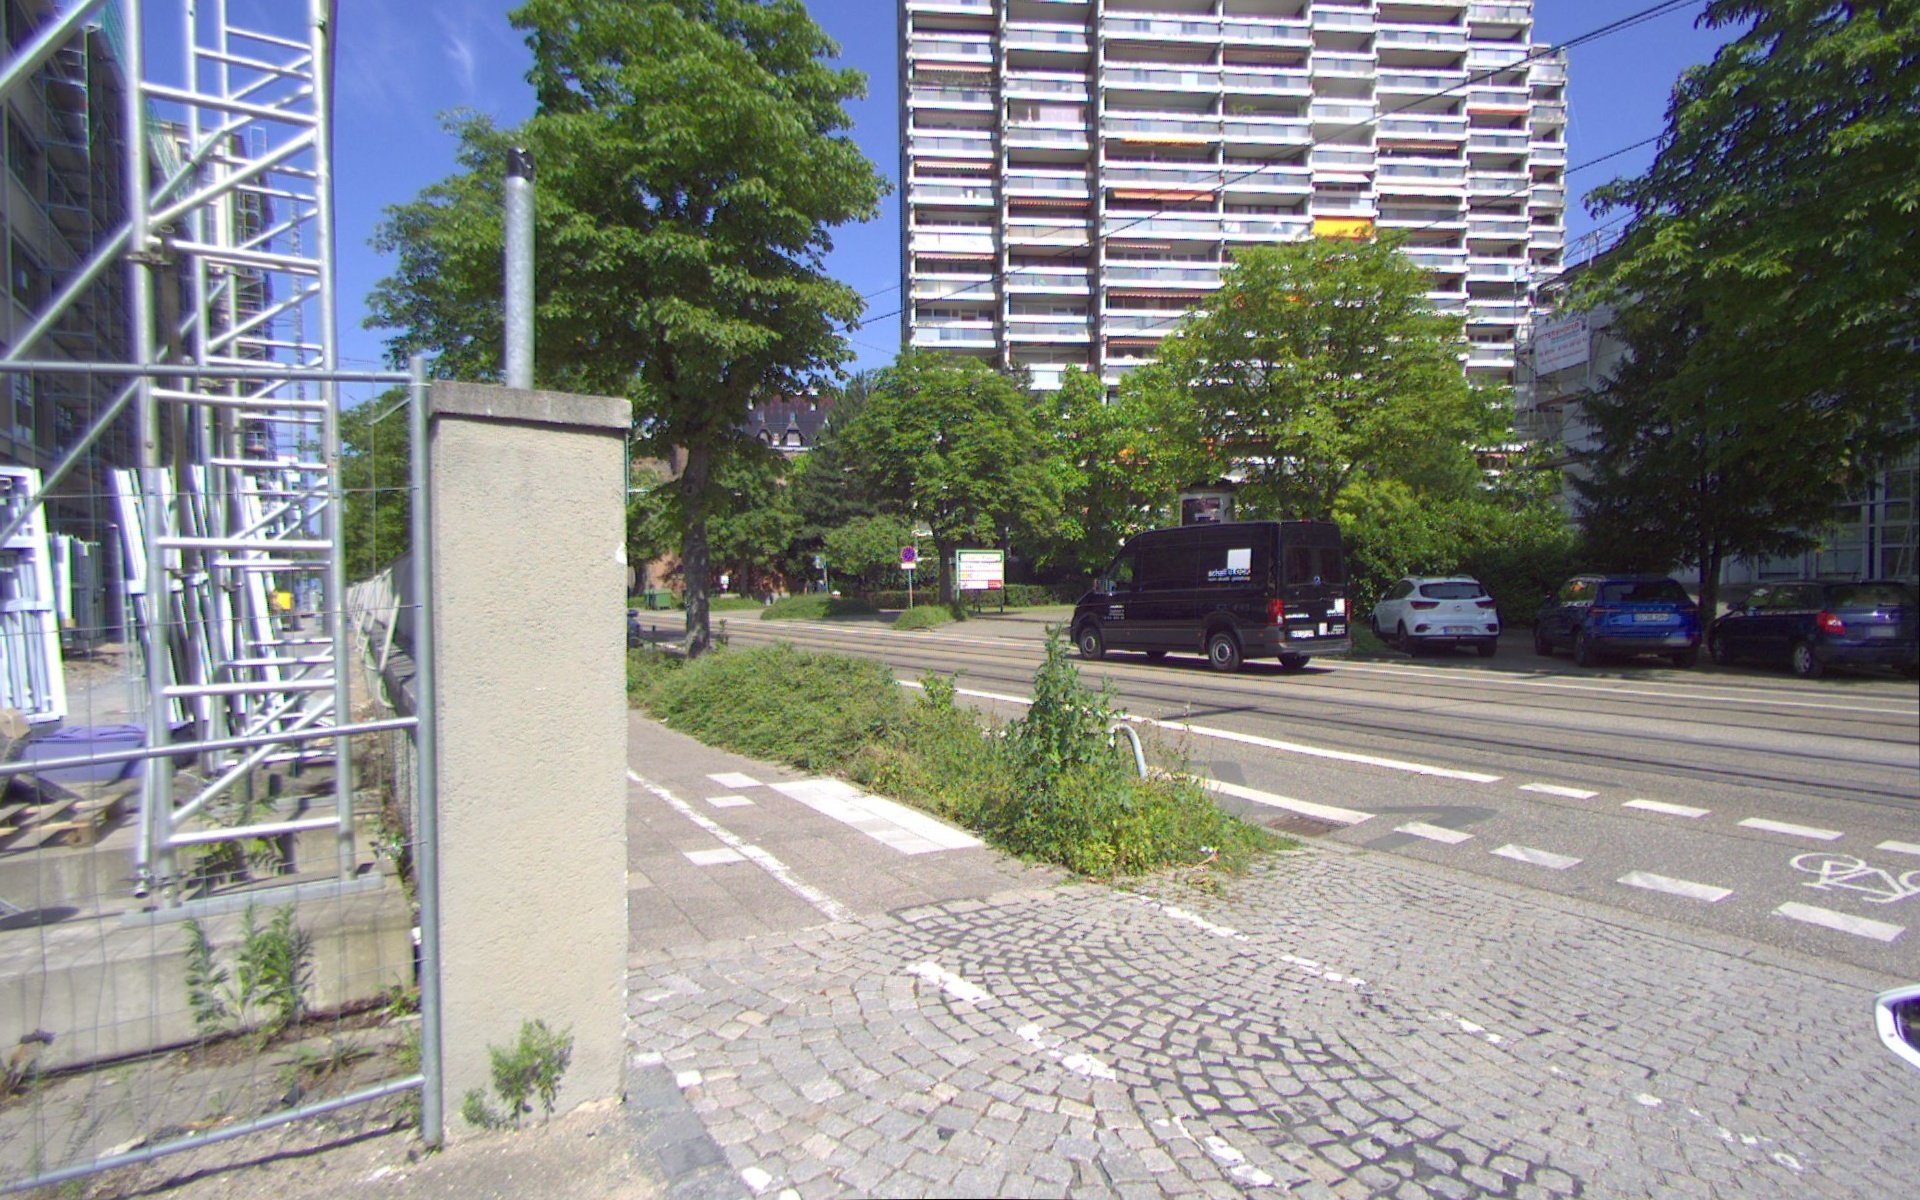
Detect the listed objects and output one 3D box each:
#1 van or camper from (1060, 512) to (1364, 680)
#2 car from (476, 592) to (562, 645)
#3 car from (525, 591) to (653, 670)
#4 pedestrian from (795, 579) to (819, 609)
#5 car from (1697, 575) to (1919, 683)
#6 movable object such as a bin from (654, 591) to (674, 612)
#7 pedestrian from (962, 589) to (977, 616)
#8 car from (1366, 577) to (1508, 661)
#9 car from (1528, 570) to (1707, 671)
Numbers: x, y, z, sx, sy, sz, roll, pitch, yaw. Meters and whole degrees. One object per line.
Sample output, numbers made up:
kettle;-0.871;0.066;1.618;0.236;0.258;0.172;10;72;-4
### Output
van or camper;4.453;-0.099;18.933;2.028;2.655;5.810;-1;1;-32
car;-13.235;0.504;30.044;1.801;1.473;3.965;-1;1;-32
car;-8.125;0.581;21.784;1.801;1.514;4.071;-1;1;-32
pedestrian;-9.448;-0.352;61.972;1.048;1.822;1.253;1;1;-32
car;13.676;0.393;16.245;1.544;1.551;3.460;0;1;12
movable object such as a bin;-20.945;0.076;71.063;1.249;1.473;1.072;0;1;-27
pedestrian;0.408;0.108;44.686;0.525;1.170;0.700;-1;1;-10
car;10.134;0.337;21.657;1.783;1.628;3.947;0;1;10
car;12.139;0.303;18.829;1.745;1.644;3.945;-1;2;17
